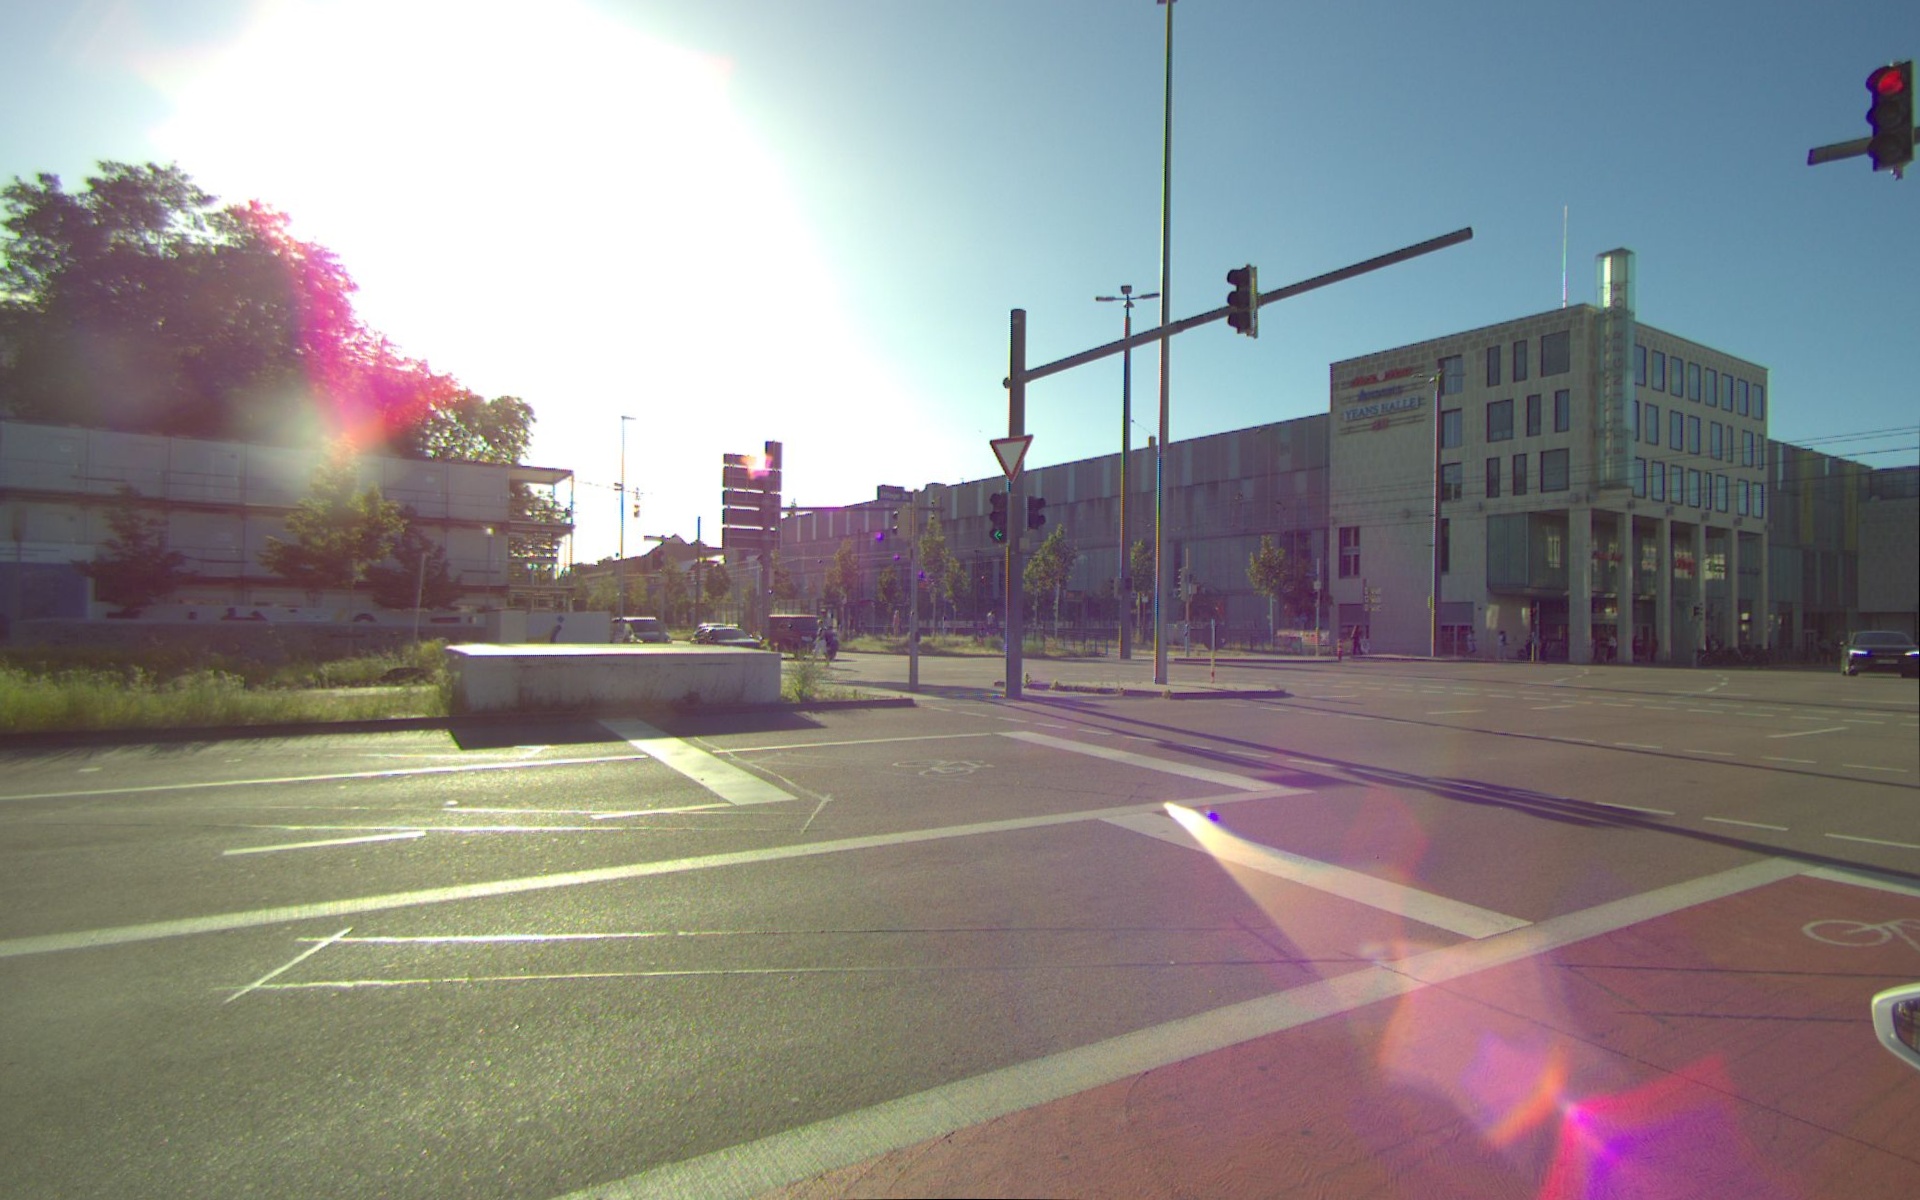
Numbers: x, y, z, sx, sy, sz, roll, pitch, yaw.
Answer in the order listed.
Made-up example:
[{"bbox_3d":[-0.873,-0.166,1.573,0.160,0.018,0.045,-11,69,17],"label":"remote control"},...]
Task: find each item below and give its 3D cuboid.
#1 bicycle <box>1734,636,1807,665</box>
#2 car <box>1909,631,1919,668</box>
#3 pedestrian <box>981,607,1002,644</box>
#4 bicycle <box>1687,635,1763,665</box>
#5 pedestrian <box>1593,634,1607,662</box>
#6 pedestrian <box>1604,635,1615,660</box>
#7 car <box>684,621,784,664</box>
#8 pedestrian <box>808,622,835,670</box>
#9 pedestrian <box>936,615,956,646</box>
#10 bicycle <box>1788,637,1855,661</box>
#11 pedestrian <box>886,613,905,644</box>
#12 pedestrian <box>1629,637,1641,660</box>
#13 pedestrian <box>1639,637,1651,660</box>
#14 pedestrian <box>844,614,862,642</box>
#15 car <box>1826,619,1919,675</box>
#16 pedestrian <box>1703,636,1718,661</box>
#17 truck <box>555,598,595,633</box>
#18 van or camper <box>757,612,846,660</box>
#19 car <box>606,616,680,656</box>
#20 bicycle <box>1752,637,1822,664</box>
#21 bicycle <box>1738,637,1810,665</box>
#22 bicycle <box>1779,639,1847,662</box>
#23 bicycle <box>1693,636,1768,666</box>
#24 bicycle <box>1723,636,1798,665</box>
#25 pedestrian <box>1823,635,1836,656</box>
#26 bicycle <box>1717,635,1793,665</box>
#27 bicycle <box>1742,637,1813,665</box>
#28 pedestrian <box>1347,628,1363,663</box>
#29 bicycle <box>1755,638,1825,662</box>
[{"bbox_3d":[51.119,3.179,63.421,0.979,1.719,3.462,1,-2,-40],"label":"bicycle"},{"bbox_3d":[46.219,2.319,47.143,4.371,1.682,1.977,2,-3,-41],"label":"car"},{"bbox_3d":[1.583,1.274,50.594,0.788,1.855,0.706,1,-1,-37],"label":"pedestrian"},{"bbox_3d":[45.698,2.968,60.030,1.107,1.719,3.465,1,-2,-38],"label":"bicycle"},{"bbox_3d":[37.884,2.819,59.453,0.546,1.664,0.535,1,-1,-41],"label":"pedestrian"},{"bbox_3d":[42.729,3.125,66.083,0.493,1.606,0.426,1,-1,-34],"label":"pedestrian"},{"bbox_3d":[-9.400,1.714,41.513,2.313,1.671,4.821,1,-2,-37],"label":"car"},{"bbox_3d":[-4.865,1.600,35.335,0.619,1.674,0.935,1,-1,-30],"label":"pedestrian"},{"bbox_3d":[-0.837,1.817,59.523,0.889,1.855,0.787,1,-1,-35],"label":"pedestrian"},{"bbox_3d":[60.381,3.420,70.467,0.979,1.547,3.462,1,-2,-40],"label":"bicycle"},{"bbox_3d":[-3.895,1.729,60.579,0.889,1.855,0.787,1,-1,-35],"label":"pedestrian"},{"bbox_3d":[44.273,3.180,65.922,0.508,1.530,0.508,1,-1,-34],"label":"pedestrian"},{"bbox_3d":[44.990,3.176,65.964,0.508,1.530,0.479,1,-1,-34],"label":"pedestrian"},{"bbox_3d":[-7.046,1.840,65.971,0.889,1.855,0.787,1,-1,-35],"label":"pedestrian"},{"bbox_3d":[30.868,1.524,34.047,1.968,1.623,4.934,-1,0,37],"label":"car"},{"bbox_3d":[50.206,3.229,67.200,0.775,1.664,0.691,-1,-1,42],"label":"pedestrian"},{"bbox_3d":[-33.479,1.349,87.252,1.979,2.875,6.293,1,-2,-33],"label":"truck"},{"bbox_3d":[-7.268,1.603,45.634,1.981,2.040,4.821,1,-2,-36],"label":"van or camper"},{"bbox_3d":[-15.577,1.734,49.158,1.981,1.849,4.821,1,-2,-36],"label":"car"},{"bbox_3d":[54.505,3.309,66.249,0.979,1.719,3.462,1,-2,-40],"label":"bicycle"},{"bbox_3d":[51.945,3.216,64.155,0.979,1.719,3.462,1,-2,-40],"label":"bicycle"},{"bbox_3d":[58.874,3.466,69.386,0.979,1.547,3.462,1,-2,-40],"label":"bicycle"},{"bbox_3d":[46.635,3.059,60.842,1.107,1.719,3.465,1,-2,-38],"label":"bicycle"},{"bbox_3d":[49.143,3.070,61.736,1.107,1.719,3.465,1,-2,-38],"label":"bicycle"},{"bbox_3d":[67.532,3.530,78.013,0.689,1.664,0.648,1,-1,-38],"label":"pedestrian"},{"bbox_3d":[48.214,3.003,60.936,1.107,1.719,3.465,1,-2,-38],"label":"bicycle"},{"bbox_3d":[52.859,3.248,64.959,0.979,1.719,3.462,1,-2,-40],"label":"bicycle"},{"bbox_3d":[19.800,2.291,50.384,0.542,1.716,0.522,1,-1,-33],"label":"pedestrian"},{"bbox_3d":[55.256,3.317,66.918,0.979,1.547,3.462,1,-2,-40],"label":"bicycle"}]
